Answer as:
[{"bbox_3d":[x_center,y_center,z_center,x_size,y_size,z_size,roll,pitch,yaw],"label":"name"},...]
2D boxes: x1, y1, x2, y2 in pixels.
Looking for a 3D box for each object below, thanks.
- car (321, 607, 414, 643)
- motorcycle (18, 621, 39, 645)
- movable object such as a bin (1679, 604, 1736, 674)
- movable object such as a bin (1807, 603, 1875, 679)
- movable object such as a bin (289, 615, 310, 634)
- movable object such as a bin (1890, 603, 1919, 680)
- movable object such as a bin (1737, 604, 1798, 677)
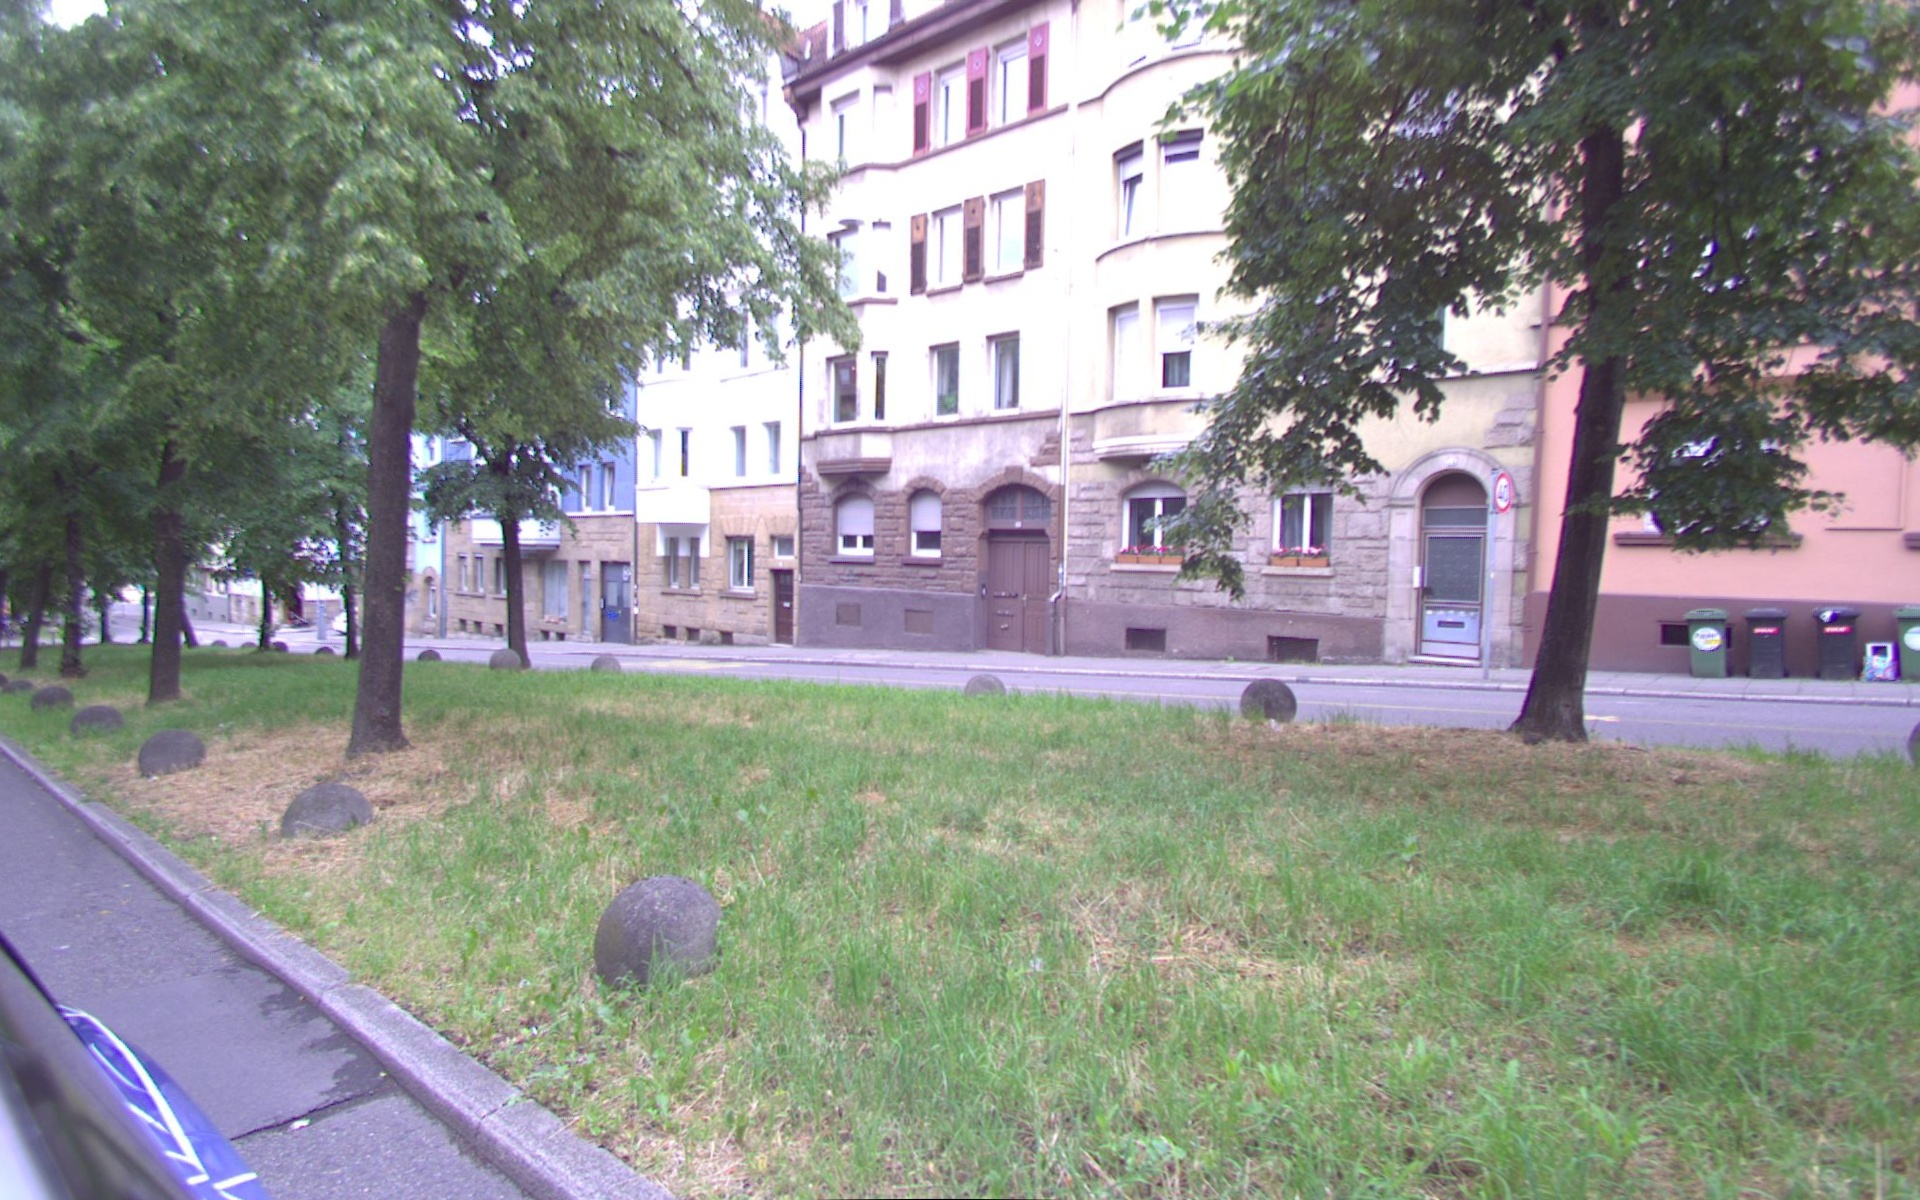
[{"bbox_3d":[-32.769,1.355,56.068,1.870,1.480,3.959,2,7,39],"label":"car"},{"bbox_3d":[-47.955,1.693,52.107,0.740,1.081,1.854,-2,3,-41],"label":"motorcycle"},{"bbox_3d":[10.189,0.520,13.800,0.601,0.911,0.603,-1,1,38],"label":"movable object such as a bin"},{"bbox_3d":[11.221,0.508,12.903,0.601,0.911,0.603,-1,1,38],"label":"movable object such as a bin"},{"bbox_3d":[-39.145,1.445,59.966,0.668,1.001,0.876,0,3,40],"label":"movable object such as a bin"},{"bbox_3d":[11.829,0.502,12.381,0.601,0.911,0.603,-1,1,38],"label":"movable object such as a bin"},{"bbox_3d":[10.664,0.518,13.377,0.601,0.911,0.603,-1,1,38],"label":"movable object such as a bin"}]
